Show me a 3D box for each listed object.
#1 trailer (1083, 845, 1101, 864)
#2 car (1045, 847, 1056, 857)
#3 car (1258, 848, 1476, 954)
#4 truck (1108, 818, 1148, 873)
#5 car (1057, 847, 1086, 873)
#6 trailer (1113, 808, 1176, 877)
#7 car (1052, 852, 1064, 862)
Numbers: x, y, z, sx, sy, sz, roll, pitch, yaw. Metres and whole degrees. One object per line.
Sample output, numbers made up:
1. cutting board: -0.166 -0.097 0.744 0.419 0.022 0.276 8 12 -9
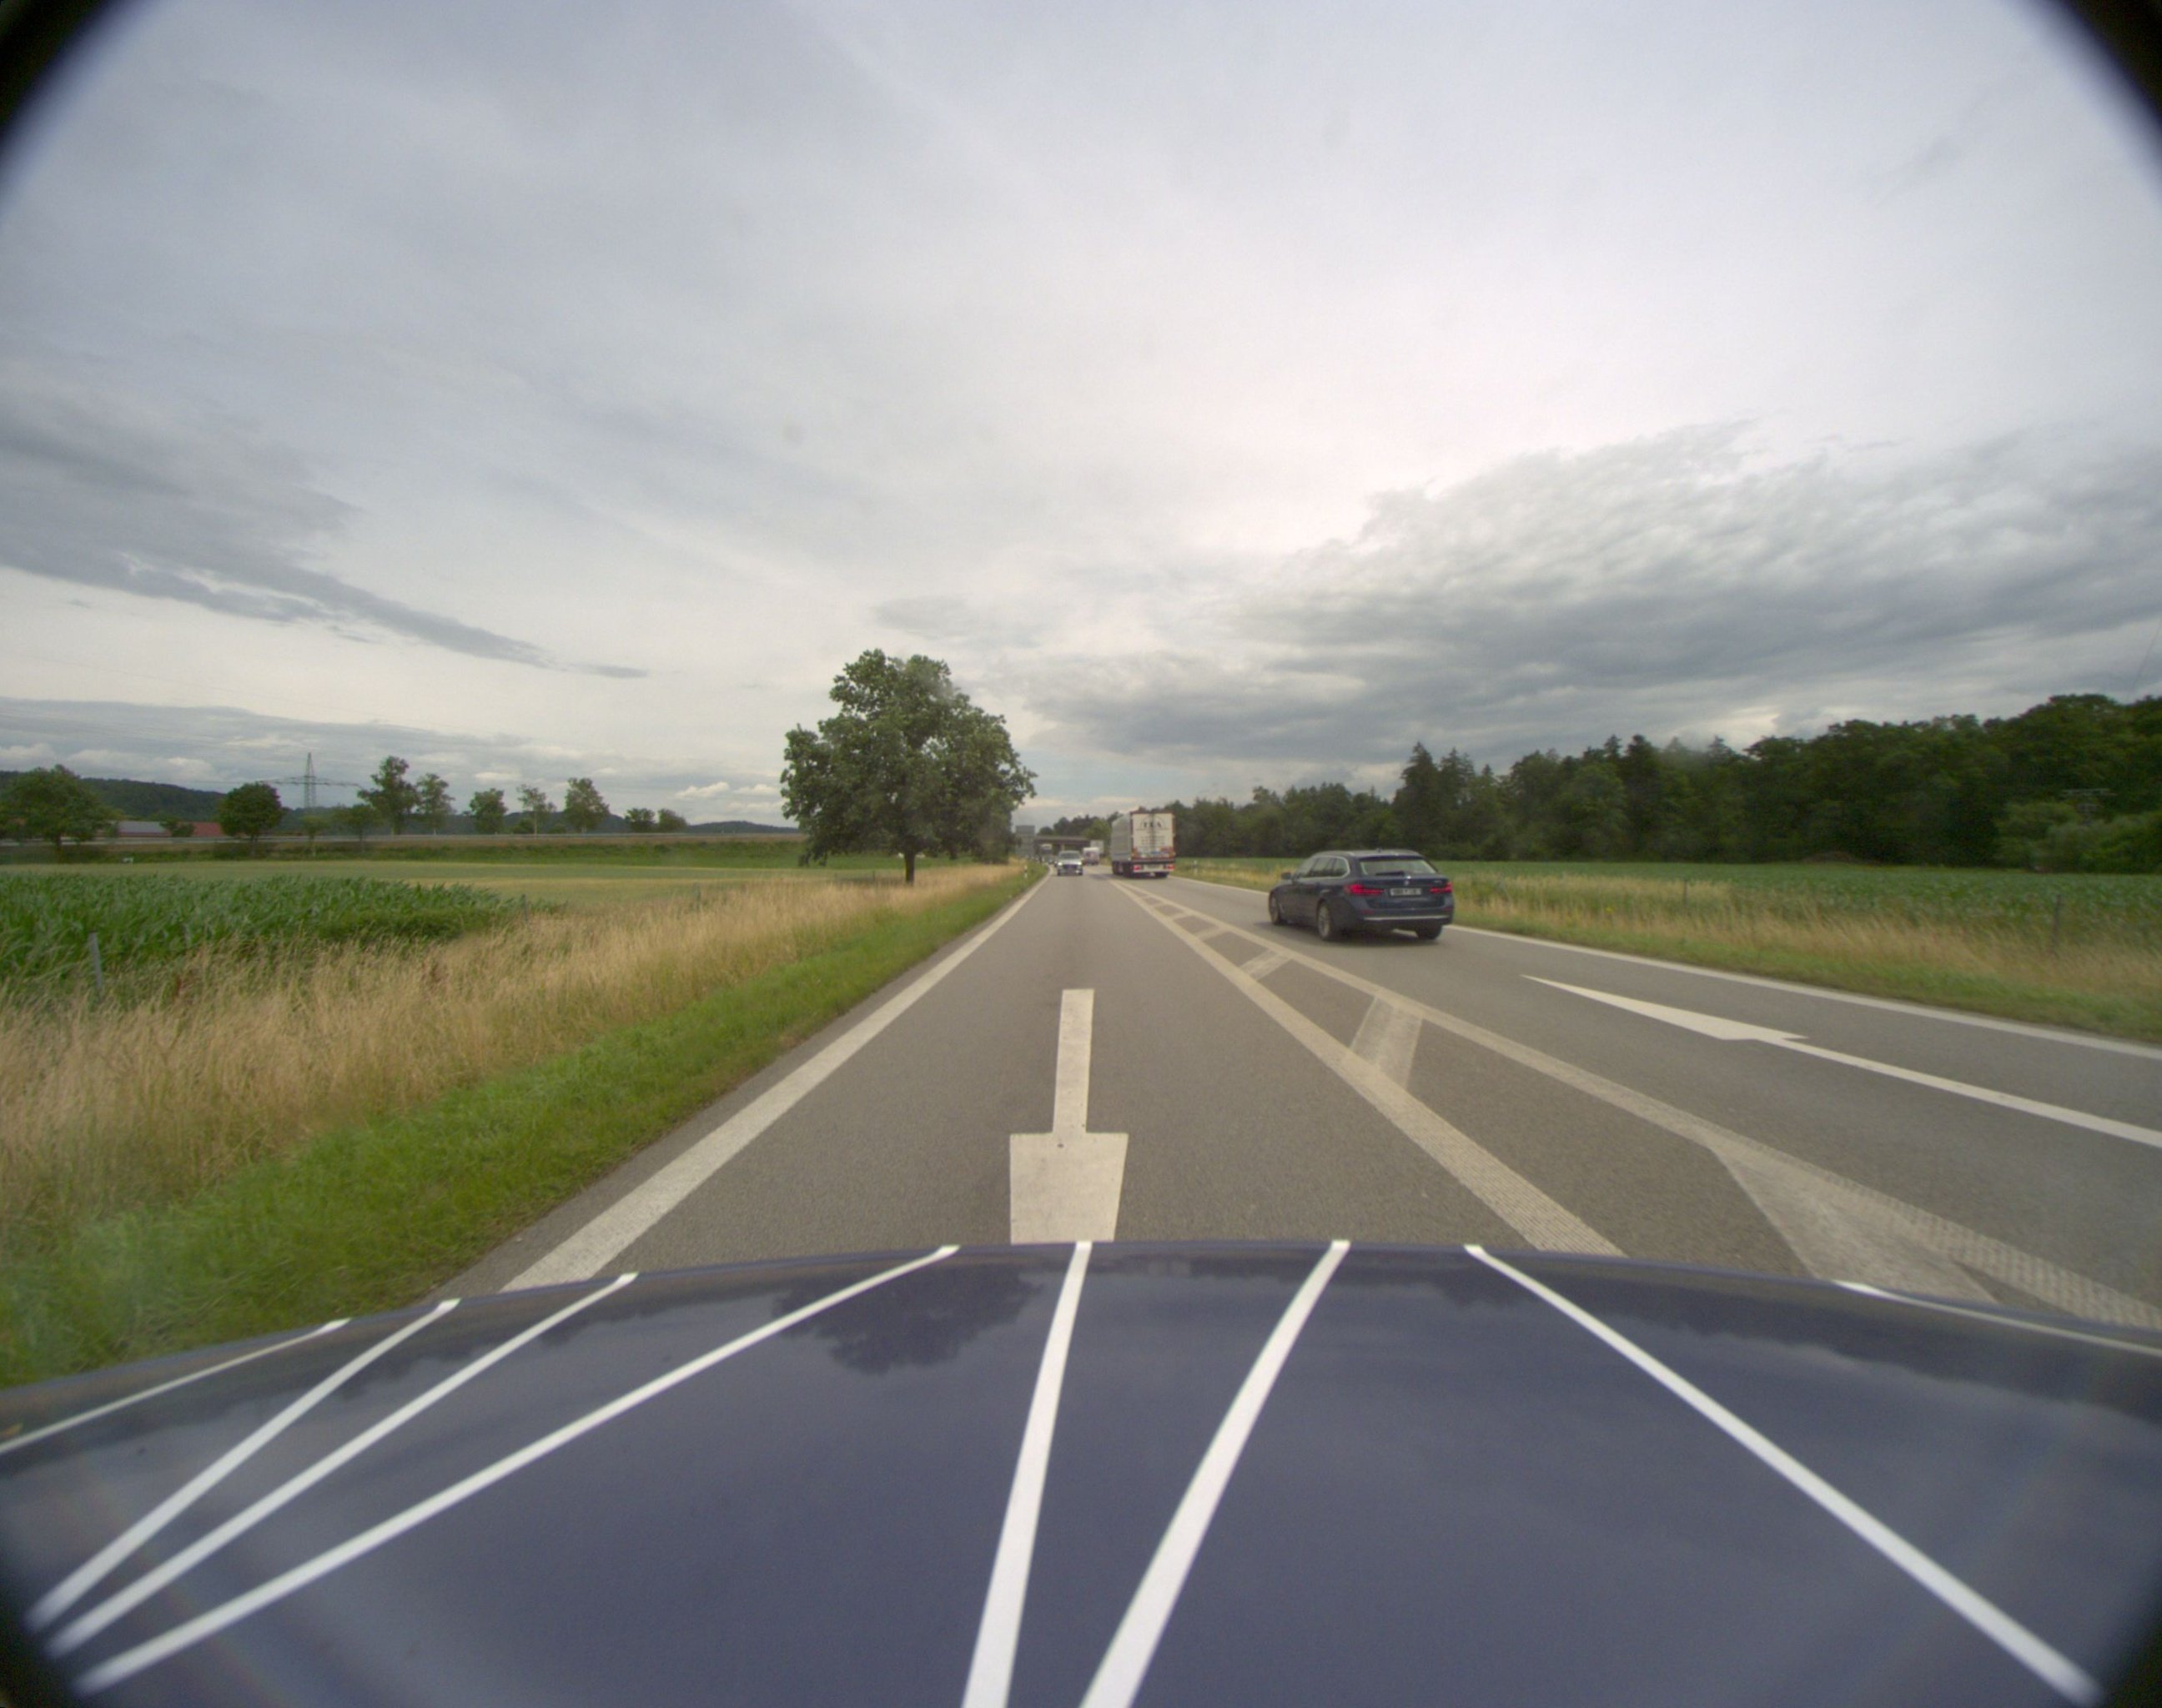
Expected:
1. trailer: 1.558 -0.010 108.980 2.188 2.560 6.242 -2 1 -1
2. car: -6.955 -0.447 172.153 1.998 2.002 4.001 -2 1 4
3. car: 4.788 0.666 13.701 1.862 1.470 5.196 -2 1 -1
4. truck: 3.544 -0.610 58.187 2.496 3.972 5.203 -1 0 -2
5. car: -0.786 0.439 58.223 1.924 1.823 3.998 -2 1 -5
6. trailer: 3.947 -0.641 50.693 2.496 3.972 13.073 -1 0 -3
7. car: -3.954 0.514 131.481 1.862 1.679 4.112 -2 1 0
